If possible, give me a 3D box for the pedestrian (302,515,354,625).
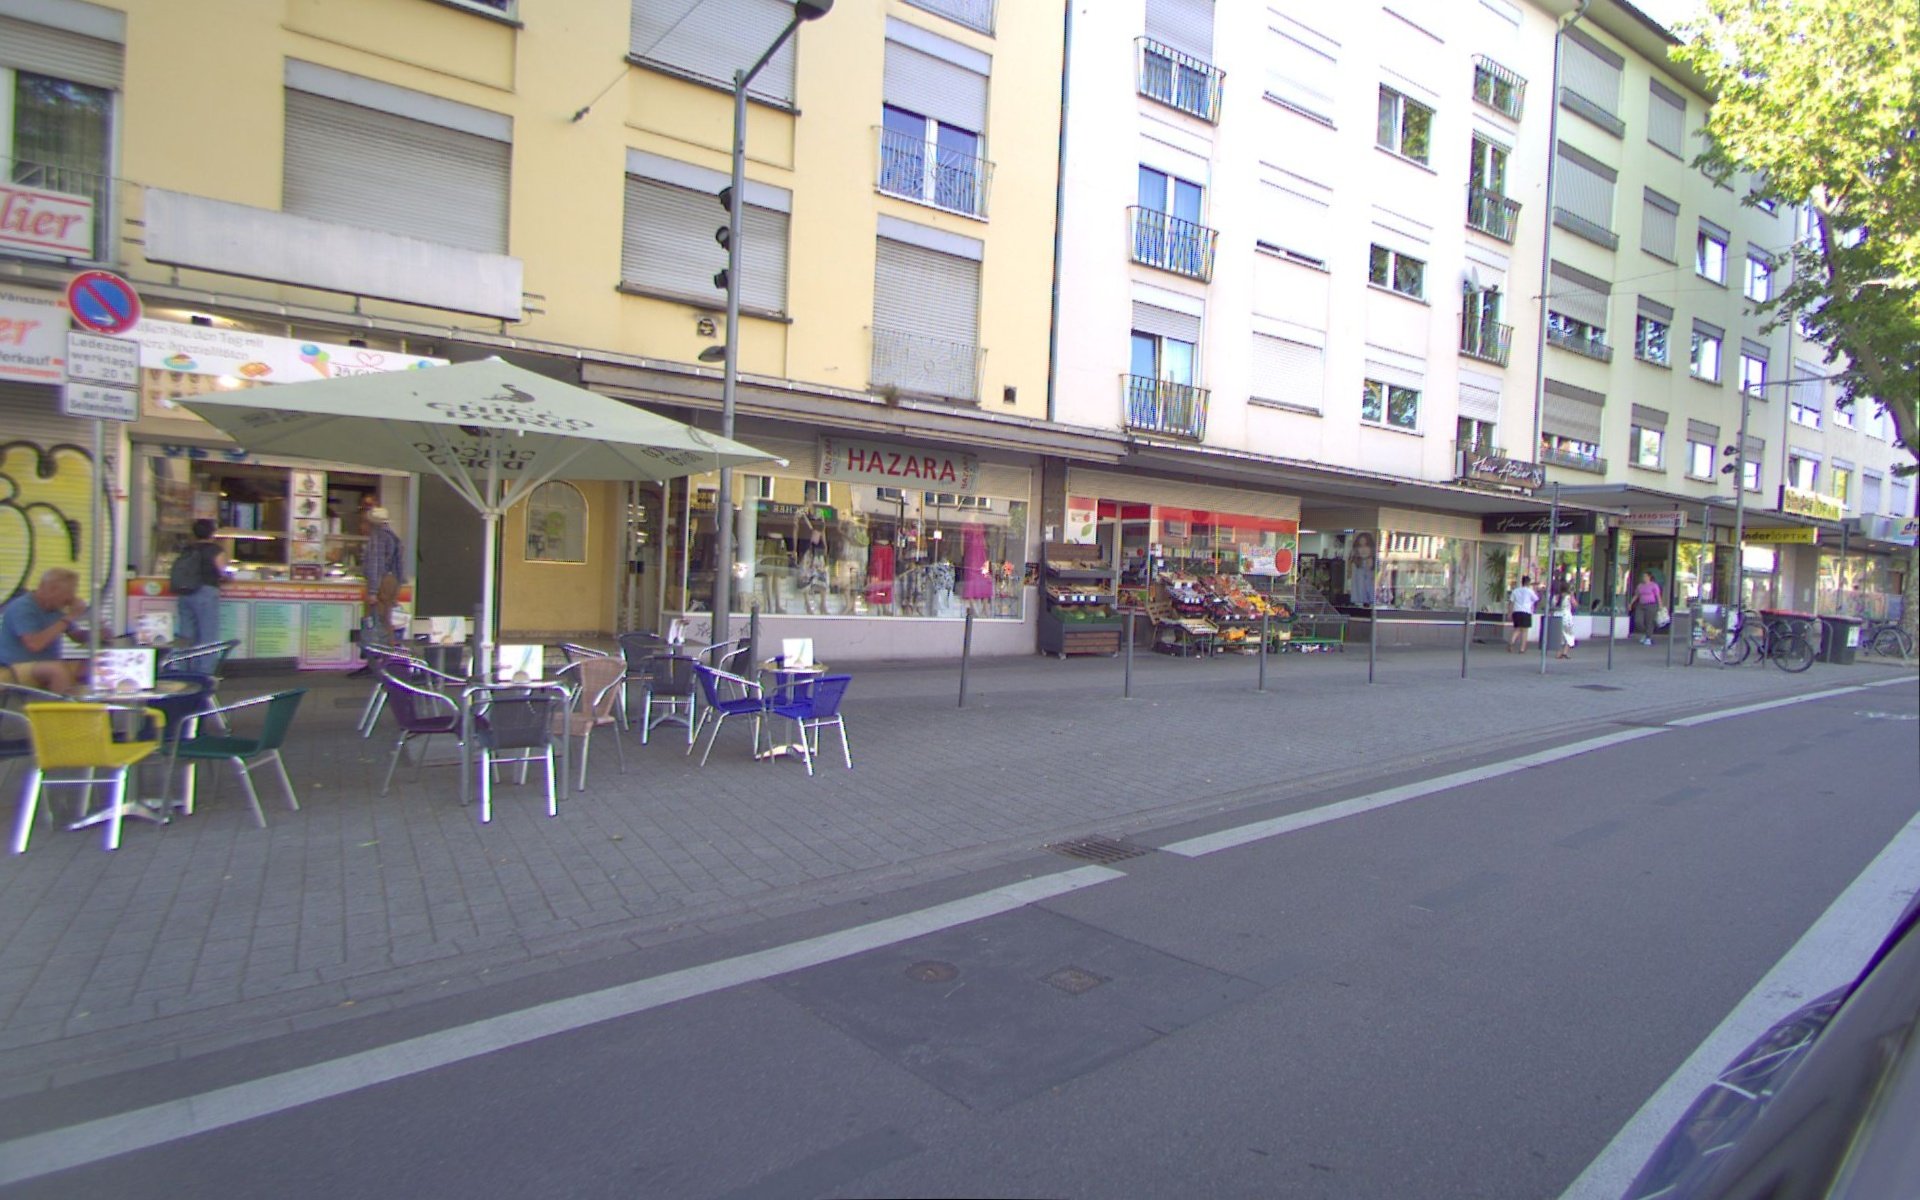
[{"bbox_3d":[-7.722,-0.365,12.363,0.498,1.312,0.427,0,2,-36],"label":"pedestrian"}]

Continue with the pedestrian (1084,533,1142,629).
[{"bbox_3d":[2.903,-0.355,19.202,0.864,1.766,0.686,0,0,-37],"label":"pedestrian"}]

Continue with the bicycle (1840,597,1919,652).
[{"bbox_3d":[21.681,0.556,23.511,0.731,1.130,1.725,-3,4,-32],"label":"bicycle"}]

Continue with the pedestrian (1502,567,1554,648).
[{"bbox_3d":[11.683,0.151,20.813,0.615,1.605,0.625,1,4,-34],"label":"pedestrian"}]

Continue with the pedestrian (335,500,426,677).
[{"bbox_3d":[-6.202,-0.132,10.853,0.614,1.826,0.638,1,2,-4],"label":"pedestrian"}]

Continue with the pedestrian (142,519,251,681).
[{"bbox_3d":[-7.662,-0.017,10.189,0.624,1.564,0.628,1,5,-9],"label":"pedestrian"}]

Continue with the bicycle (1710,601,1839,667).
[{"bbox_3d":[16.362,0.656,20.396,0.507,1.118,1.918,1,4,-26],"label":"bicycle"}]

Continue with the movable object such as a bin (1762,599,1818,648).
[{"bbox_3d":[19.539,0.541,23.837,0.630,1.085,0.726,1,3,-14],"label":"movable object such as a bin"}]

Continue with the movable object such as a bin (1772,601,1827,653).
[{"bbox_3d":[19.128,0.601,23.058,0.632,1.084,0.725,0,7,-35],"label":"movable object such as a bin"}]

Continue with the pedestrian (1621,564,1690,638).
[{"bbox_3d":[17.446,0.008,25.395,1.111,1.784,0.972,0,3,-32],"label":"pedestrian"}]

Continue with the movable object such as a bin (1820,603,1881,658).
[{"bbox_3d":[19.724,0.668,22.422,0.631,1.115,0.726,1,6,-26],"label":"movable object such as a bin"}]

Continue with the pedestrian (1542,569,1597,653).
[{"bbox_3d":[12.256,0.212,20.357,0.615,1.605,0.638,1,4,-34],"label":"pedestrian"}]

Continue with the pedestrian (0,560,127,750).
[{"bbox_3d":[-6.267,0.354,7.028,0.732,1.240,0.607,0,2,-40],"label":"pedestrian"}]
